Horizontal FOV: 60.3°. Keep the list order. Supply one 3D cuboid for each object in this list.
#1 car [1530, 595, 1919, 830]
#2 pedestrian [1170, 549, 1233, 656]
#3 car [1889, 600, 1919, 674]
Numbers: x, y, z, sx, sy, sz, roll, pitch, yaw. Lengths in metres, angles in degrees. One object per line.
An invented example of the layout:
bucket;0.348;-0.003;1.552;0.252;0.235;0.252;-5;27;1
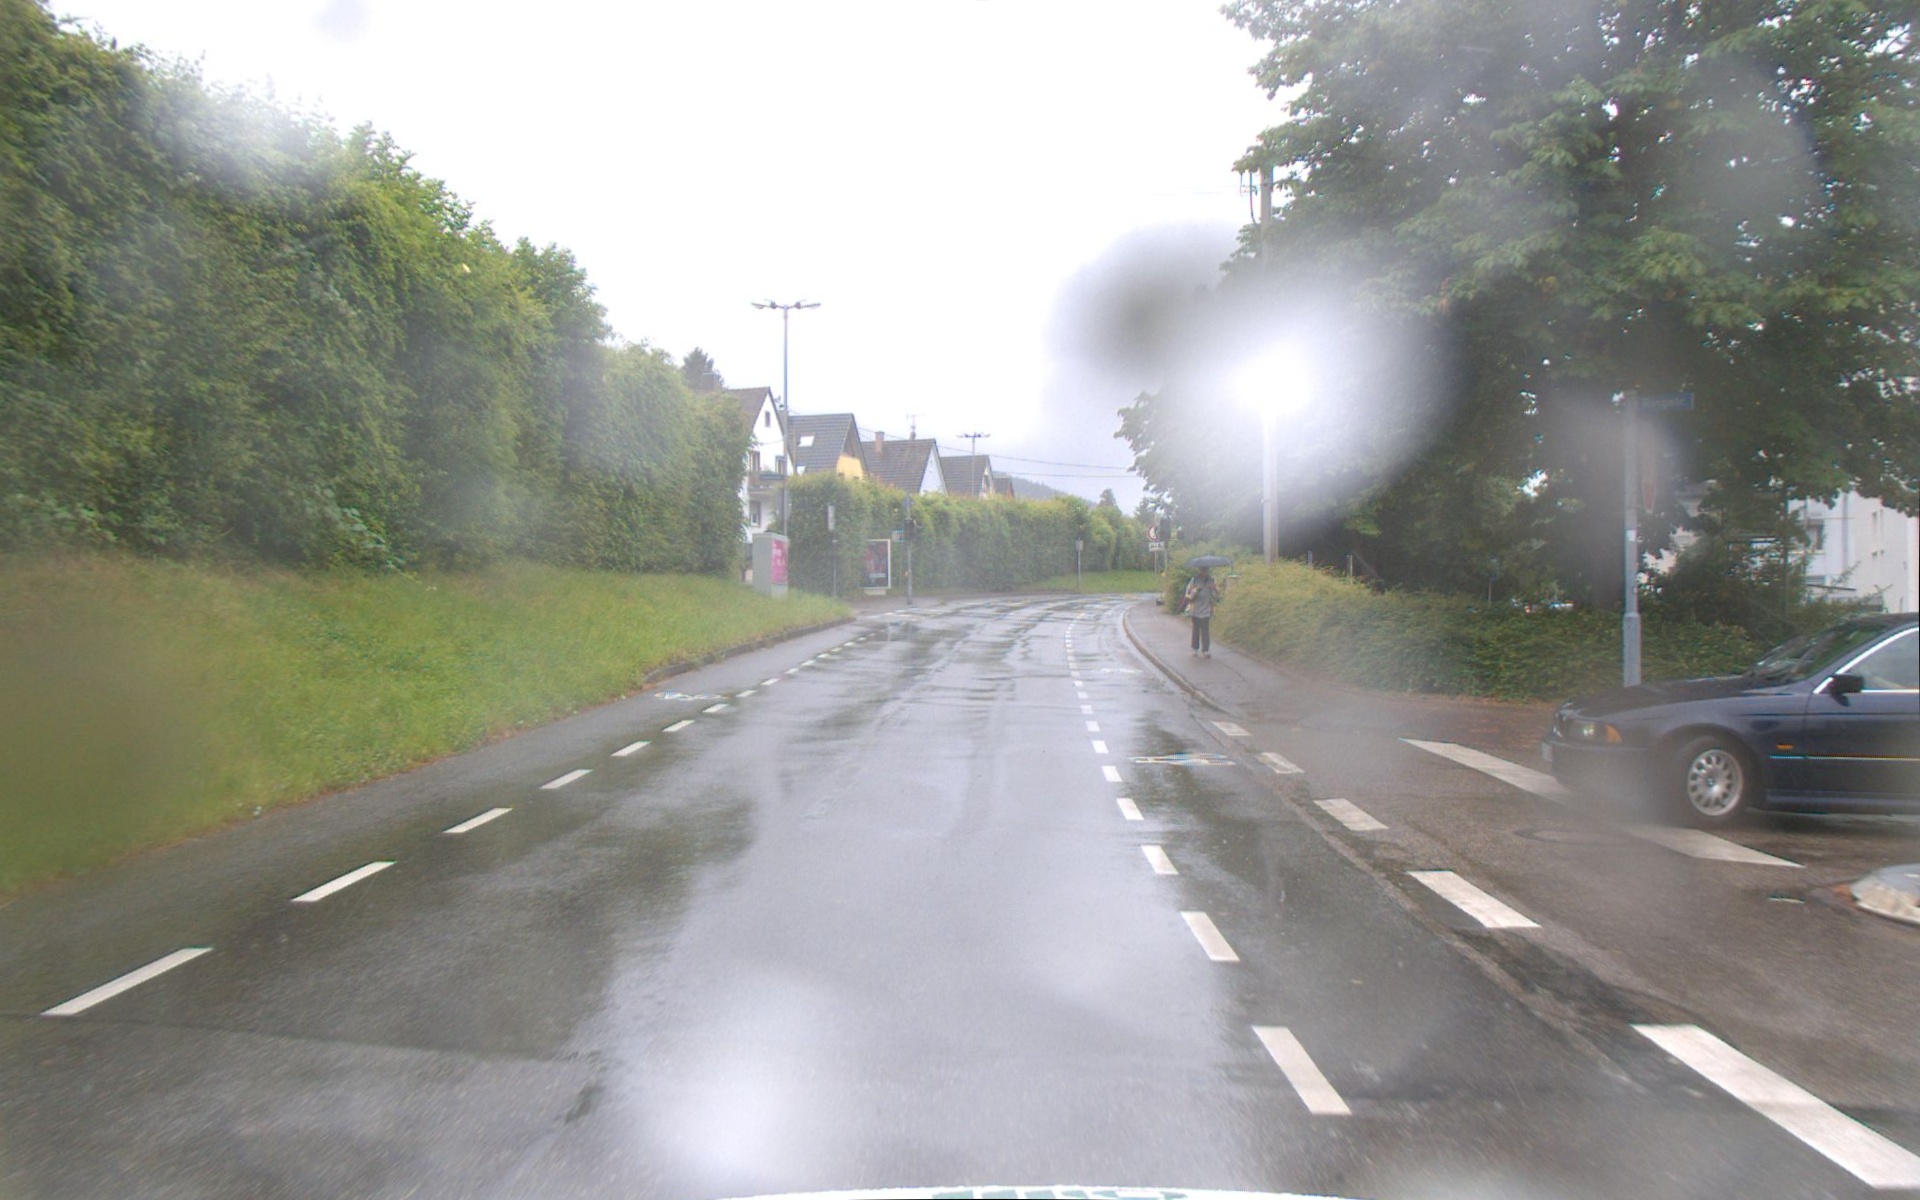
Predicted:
car;6.360;0.712;11.122;4.502;1.412;1.948;1;1;10
pedestrian;3.999;0.032;27.465;0.900;1.704;1.058;-2;1;3
car;19.885;0.762;32.236;1.653;1.463;3.613;0;1;3
